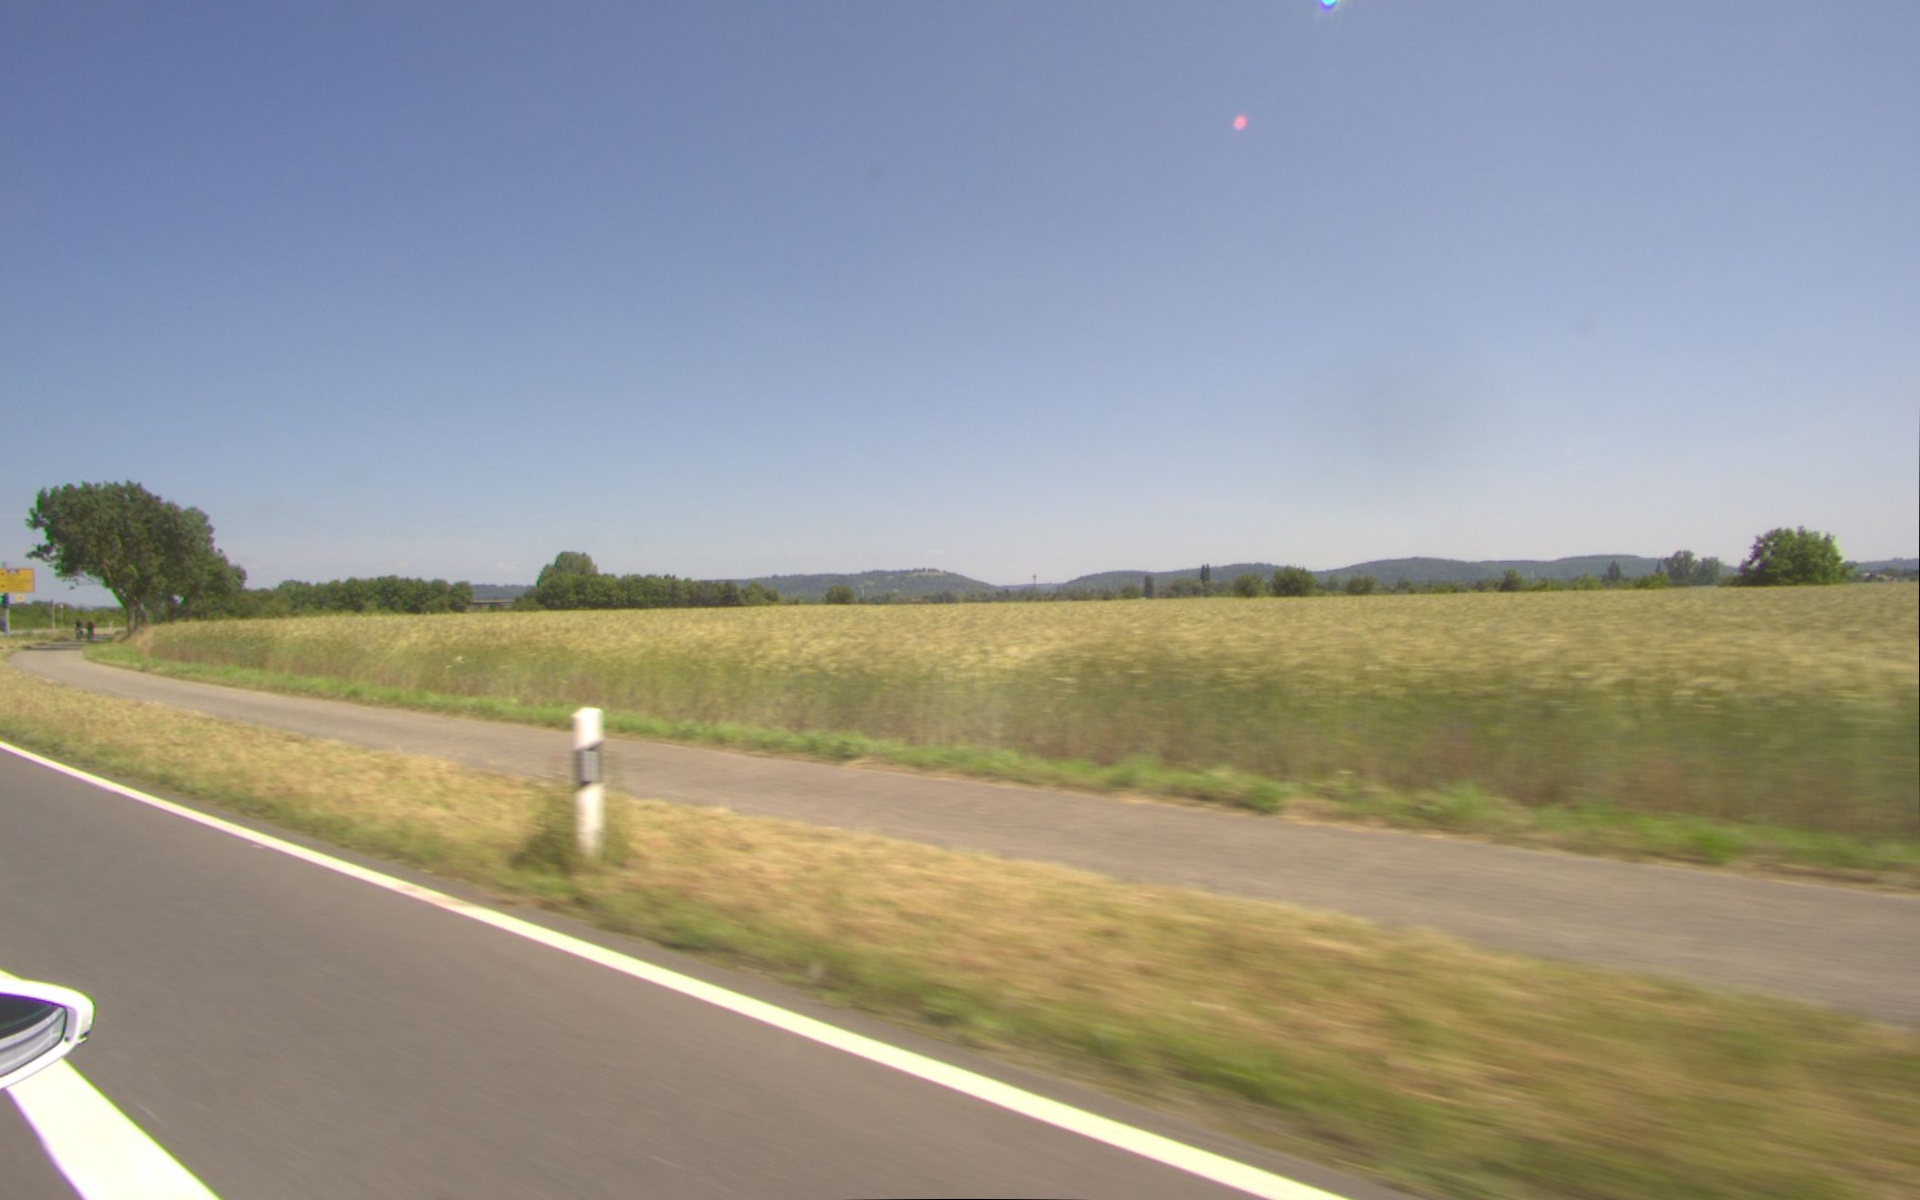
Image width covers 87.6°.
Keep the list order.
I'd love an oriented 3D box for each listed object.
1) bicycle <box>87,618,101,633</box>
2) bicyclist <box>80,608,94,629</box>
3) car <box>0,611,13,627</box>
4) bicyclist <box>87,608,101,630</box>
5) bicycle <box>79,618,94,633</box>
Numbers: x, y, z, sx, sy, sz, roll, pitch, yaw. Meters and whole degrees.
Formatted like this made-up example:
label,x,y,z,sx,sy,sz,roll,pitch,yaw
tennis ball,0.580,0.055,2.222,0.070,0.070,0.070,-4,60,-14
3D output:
label,x,y,z,sx,sy,sz,roll,pitch,yaw
bicycle,-72.238,2.153,83.526,0.692,1.225,2.036,2,-2,-36
bicyclist,-74.046,1.577,84.925,0.581,1.756,1.165,4,-2,-32
car,-109.839,2.144,114.236,1.912,1.762,4.855,0,0,-35
bicyclist,-72.164,1.562,83.445,0.622,1.805,0.971,4,-2,-35
bicycle,-74.084,2.160,84.935,0.599,1.191,2.039,3,-3,-32
